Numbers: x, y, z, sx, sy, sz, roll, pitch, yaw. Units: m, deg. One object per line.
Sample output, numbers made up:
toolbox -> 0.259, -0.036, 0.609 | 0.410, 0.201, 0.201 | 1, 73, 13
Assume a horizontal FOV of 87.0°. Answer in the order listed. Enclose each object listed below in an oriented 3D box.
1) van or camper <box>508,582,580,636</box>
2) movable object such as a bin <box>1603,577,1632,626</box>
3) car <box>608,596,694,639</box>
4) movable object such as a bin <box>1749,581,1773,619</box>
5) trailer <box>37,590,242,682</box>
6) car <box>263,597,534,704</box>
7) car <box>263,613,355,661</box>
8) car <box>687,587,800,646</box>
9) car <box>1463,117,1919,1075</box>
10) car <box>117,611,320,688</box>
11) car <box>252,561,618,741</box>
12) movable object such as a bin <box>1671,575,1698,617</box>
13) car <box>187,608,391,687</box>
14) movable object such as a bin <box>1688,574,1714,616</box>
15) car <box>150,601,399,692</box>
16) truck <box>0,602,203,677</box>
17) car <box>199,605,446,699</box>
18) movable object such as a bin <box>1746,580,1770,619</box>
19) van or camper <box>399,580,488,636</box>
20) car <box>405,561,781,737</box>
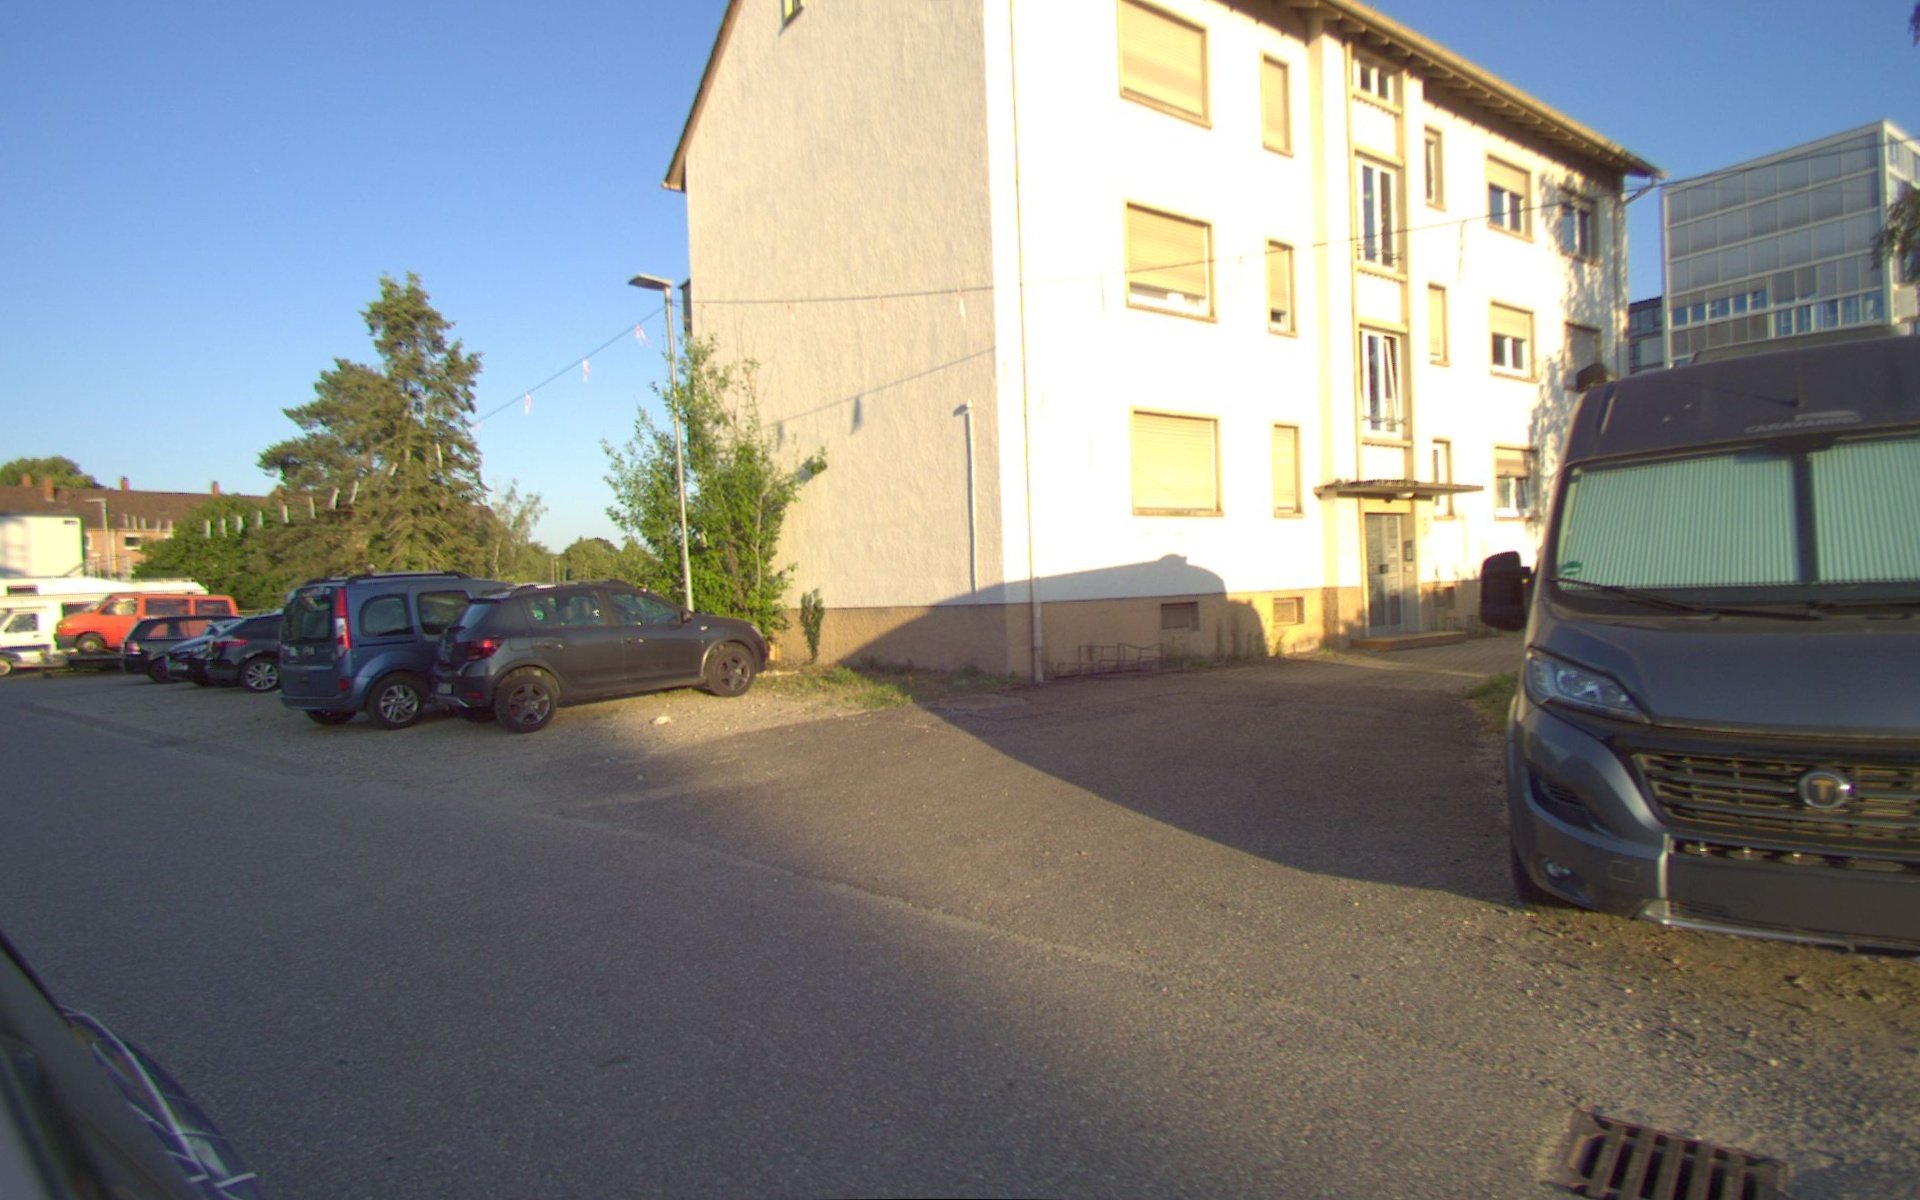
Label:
van or camper -> -23.053, 0.502, 55.942 | 2.174, 2.728, 5.759 | -2, 1, -38
movable object such as a bin -> 13.464, 0.032, 20.735 | 0.441, 0.975, 0.322 | -2, -1, 40
car -> -13.176, 0.742, 43.071 | 1.822, 1.681, 3.940 | -3, 1, -45
movable object such as a bin -> 19.634, 0.009, 24.805 | 0.441, 0.921, 0.322 | -2, -1, 40
trailer -> -25.611, 1.019, 31.694 | 4.737, 2.450, 2.136 | -4, 3, -44
car -> -9.923, 0.829, 18.068 | 1.644, 1.592, 3.881 | -3, 0, 45
car -> -22.803, 1.266, 35.391 | 3.940, 1.534, 1.823 | -2, 1, 44
car -> -6.745, 0.499, 31.178 | 1.819, 1.643, 4.327 | -2, 1, -35
car -> 4.614, -0.182, 5.424 | 2.111, 2.733, 6.327 | -1, 3, 39
car -> -18.796, 1.183, 25.745 | 3.987, 1.632, 1.852 | -3, 1, -42
car -> -6.752, 0.541, 13.449 | 1.742, 1.925, 3.897 | -3, 2, 32
movable object such as a bin -> 16.168, -0.092, 22.577 | 0.441, 0.921, 0.322 | -2, -1, 40
car -> -16.265, 1.115, 24.623 | 3.878, 1.532, 1.811 | -4, 0, -42
movable object such as a bin -> 16.681, -0.105, 22.784 | 0.441, 0.921, 0.322 | -2, -1, 40
car -> -14.494, 0.935, 21.557 | 1.820, 1.640, 4.046 | -4, -1, 42
truck -> -28.420, 1.230, 32.730 | 2.355, 2.058, 5.948 | -2, 1, 42
car -> -12.492, 0.935, 19.965 | 3.878, 1.528, 1.645 | -3, 2, -42
movable object such as a bin -> 19.370, -0.016, 24.565 | 0.441, 0.921, 0.322 | -2, -1, 40
van or camper -> -27.959, 0.460, 54.681 | 5.798, 2.791, 2.232 | -2, 1, 42
car -> -4.372, 0.474, 12.403 | 3.880, 1.664, 1.750 | -5, 2, -43
